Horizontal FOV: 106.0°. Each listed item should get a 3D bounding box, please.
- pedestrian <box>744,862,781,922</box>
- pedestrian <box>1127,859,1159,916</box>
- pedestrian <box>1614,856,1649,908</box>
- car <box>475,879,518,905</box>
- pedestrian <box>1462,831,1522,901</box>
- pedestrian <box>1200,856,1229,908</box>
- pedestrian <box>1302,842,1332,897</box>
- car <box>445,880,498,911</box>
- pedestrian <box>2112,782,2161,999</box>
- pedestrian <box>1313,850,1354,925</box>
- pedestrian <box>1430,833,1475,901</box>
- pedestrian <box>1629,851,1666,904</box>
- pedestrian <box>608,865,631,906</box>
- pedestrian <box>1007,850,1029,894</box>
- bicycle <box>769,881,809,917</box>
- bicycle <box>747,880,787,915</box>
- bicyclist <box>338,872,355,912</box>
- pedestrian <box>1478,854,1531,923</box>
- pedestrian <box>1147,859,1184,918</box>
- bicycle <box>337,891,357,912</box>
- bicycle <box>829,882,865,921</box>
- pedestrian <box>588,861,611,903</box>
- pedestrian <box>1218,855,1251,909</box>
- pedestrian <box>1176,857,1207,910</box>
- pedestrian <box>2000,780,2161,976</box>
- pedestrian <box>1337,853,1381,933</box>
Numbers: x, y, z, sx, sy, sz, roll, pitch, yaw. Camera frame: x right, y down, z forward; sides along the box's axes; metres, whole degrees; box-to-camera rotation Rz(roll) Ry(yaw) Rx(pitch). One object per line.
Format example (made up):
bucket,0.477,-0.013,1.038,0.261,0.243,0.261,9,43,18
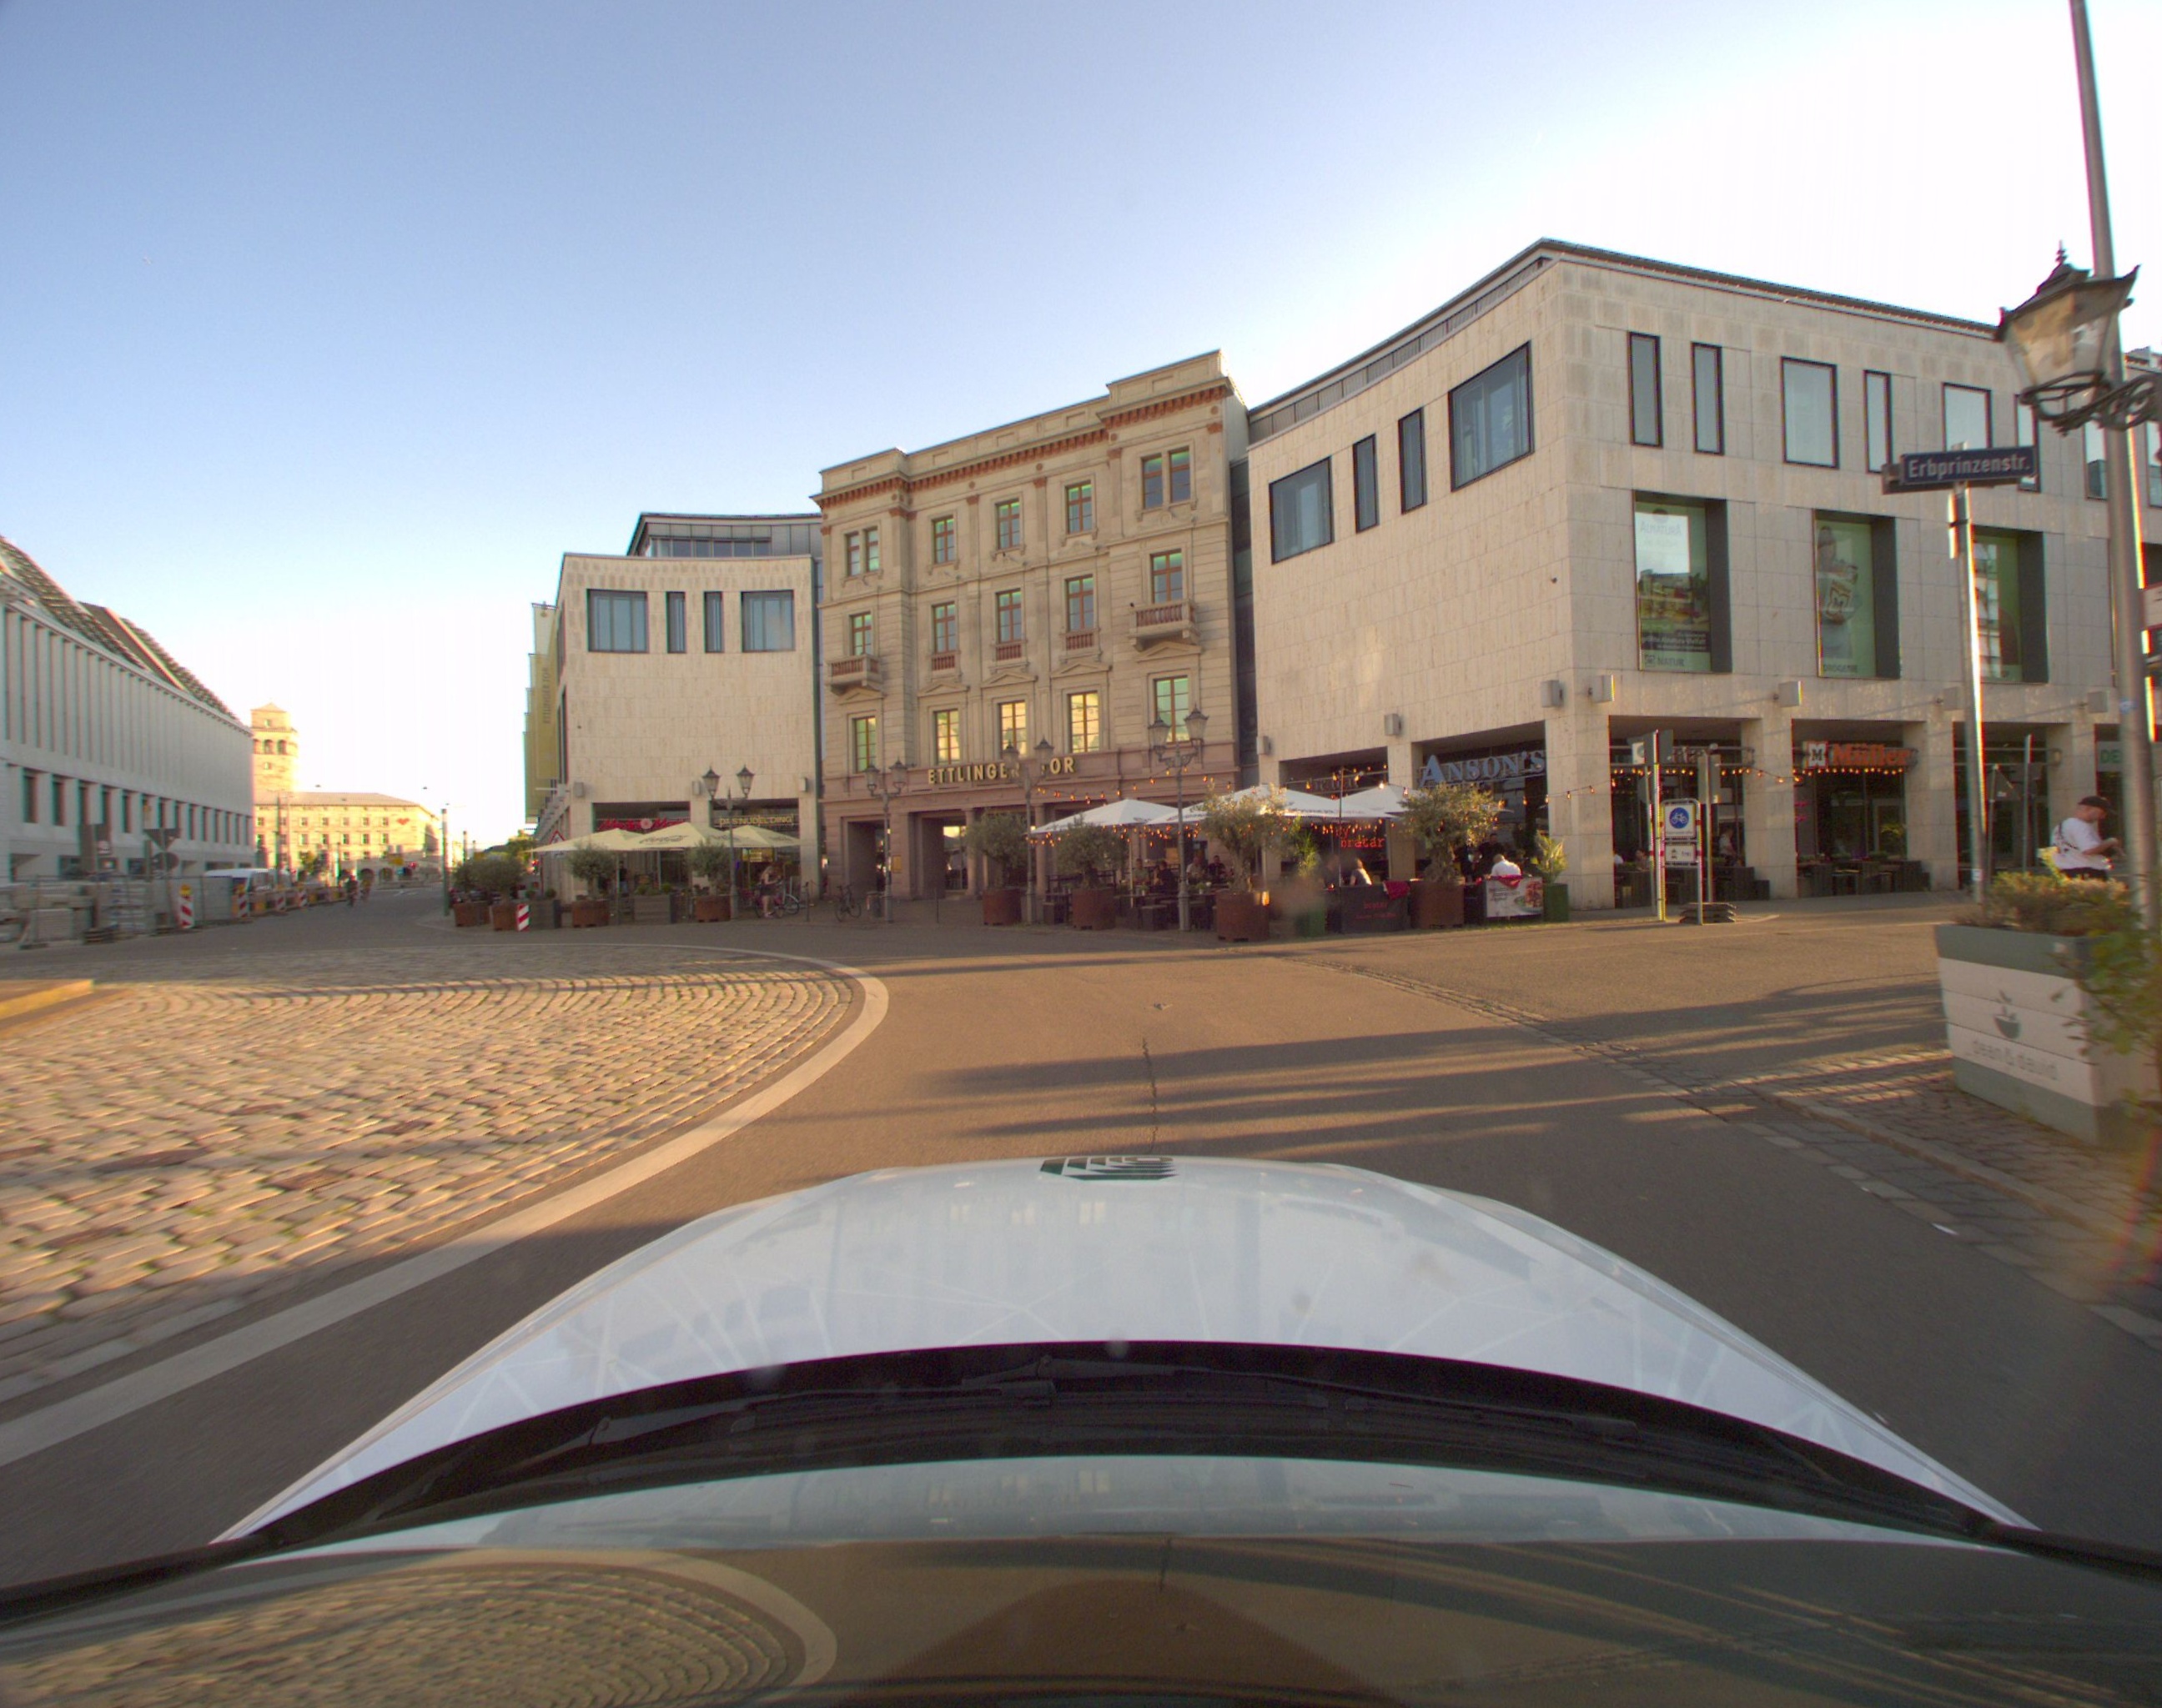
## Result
pedestrian,-9.597,1.136,24.529,0.909,1.728,0.842,-2,0,-27
pedestrian,1.653,0.874,21.707,0.547,1.478,0.617,-2,0,-34
pedestrian,11.961,0.601,17.693,0.544,1.111,0.539,-2,0,28
car,-36.615,2.332,51.103,2.008,1.464,3.958,-2,0,-34
pedestrian,10.059,0.287,19.938,0.932,1.647,0.861,-2,0,-23
pedestrian,3.930,0.812,24.029,0.546,1.478,0.619,-2,0,-24
pedestrian,7.588,0.488,26.195,0.621,1.721,0.685,-2,1,-40
car,-32.509,2.180,43.543,2.008,1.464,3.958,-2,0,-34
pedestrian,9.665,0.296,7.007,0.779,1.843,0.675,-2,0,35
pedestrian,5.102,0.661,16.475,0.529,1.478,0.559,-2,0,-16
pedestrian,9.295,0.316,20.382,0.696,1.647,0.687,-2,0,-24
pedestrian,12.614,0.513,18.142,0.499,1.156,0.467,-2,0,-26
pedestrian,-20.619,1.379,36.365,0.714,1.787,0.637,-1,0,-42
pedestrian,-2.497,0.718,32.368,0.616,1.728,0.549,-2,0,30
bicycle,-9.287,1.410,25.979,0.617,1.031,1.646,-2,0,1
bicycle,-9.981,1.366,25.930,0.597,1.031,1.646,-2,0,1
bicyclist,-42.702,2.187,47.334,0.604,2.242,0.795,-2,0,-34
pedestrian,8.323,0.659,16.037,0.549,1.310,0.720,-2,0,-16
pedestrian,2.169,0.870,20.941,0.591,1.478,0.677,-2,0,-32
bicycle,-42.717,2.731,47.378,0.604,1.138,1.736,-2,0,-34
bicycle,-6.721,1.345,23.467,0.505,1.031,1.646,-2,0,1
pedestrian,-21.163,1.232,35.797,0.689,1.816,0.642,-2,0,38
pedestrian,4.354,0.794,23.077,0.616,1.478,0.628,-2,0,45
pedestrian,3.201,0.838,23.613,0.593,1.478,0.619,-2,0,-24
pedestrian,10.709,0.233,8.513,1.017,1.932,1.013,-2,0,11
pedestrian,5.349,0.736,15.683,0.529,1.478,0.560,-2,0,-15
